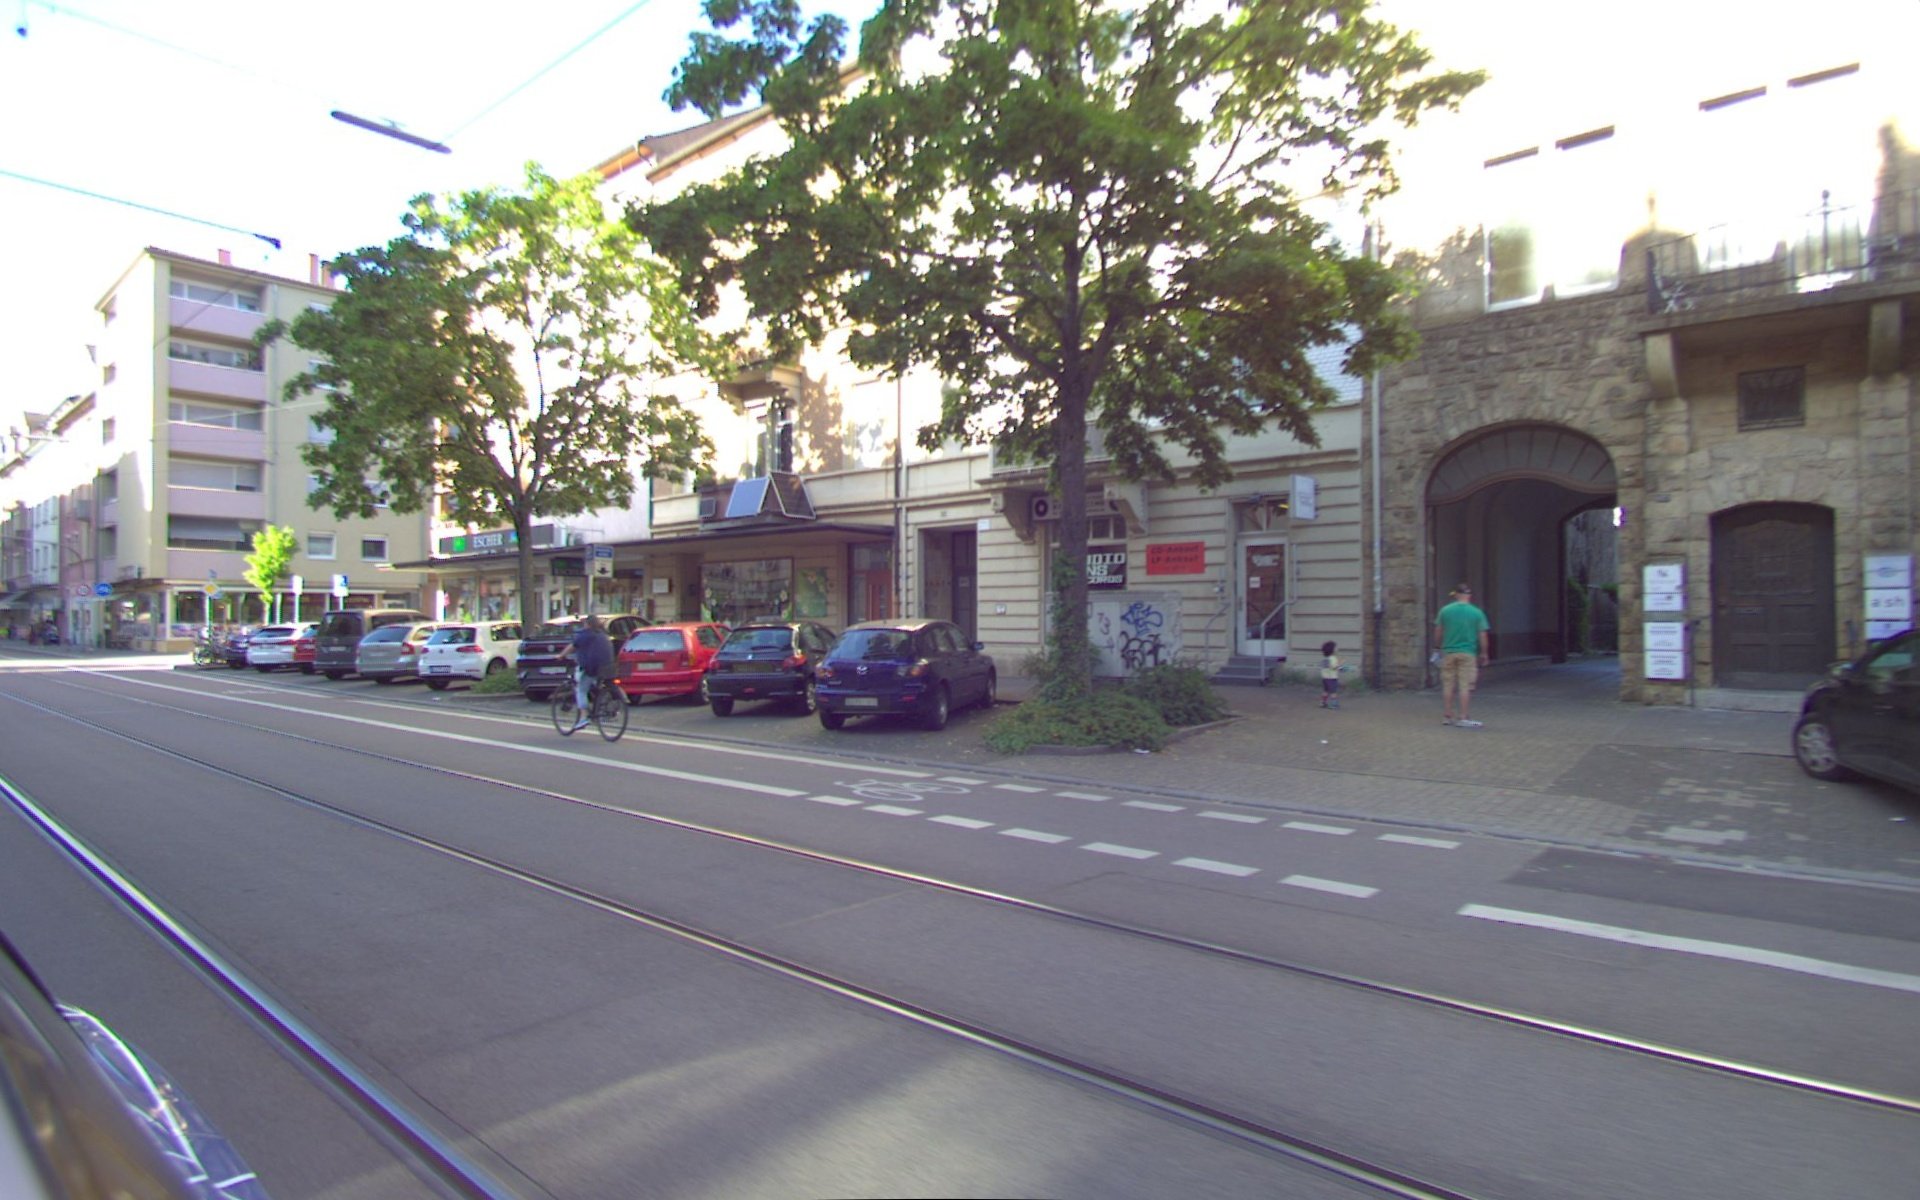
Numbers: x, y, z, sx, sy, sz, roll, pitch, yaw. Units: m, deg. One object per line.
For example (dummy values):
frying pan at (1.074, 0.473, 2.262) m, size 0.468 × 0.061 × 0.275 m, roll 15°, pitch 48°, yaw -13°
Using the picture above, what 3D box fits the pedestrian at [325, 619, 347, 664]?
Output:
pedestrian at (-23.757, 1.569, 38.518) m, size 0.641 × 1.665 × 0.563 m, roll -1°, pitch -1°, yaw 41°

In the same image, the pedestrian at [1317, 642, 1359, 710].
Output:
pedestrian at (5.331, 1.064, 14.265) m, size 0.459 × 0.929 × 0.350 m, roll -1°, pitch -1°, yaw 40°

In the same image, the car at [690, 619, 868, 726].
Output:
car at (-2.873, 1.113, 16.966) m, size 1.785 × 1.500 × 3.990 m, roll -1°, pitch 0°, yaw 8°

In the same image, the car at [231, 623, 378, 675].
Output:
car at (-19.906, 1.463, 30.933) m, size 1.734 × 1.410 × 3.782 m, roll -1°, pitch 0°, yaw 8°

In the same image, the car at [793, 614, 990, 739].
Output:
car at (-0.821, 0.980, 14.627) m, size 1.788 × 1.500 × 3.983 m, roll -1°, pitch 0°, yaw 13°

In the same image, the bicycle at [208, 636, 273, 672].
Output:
bicycle at (-24.616, 1.836, 34.625) m, size 1.867 × 1.132 × 0.681 m, roll -3°, pitch -2°, yaw 10°

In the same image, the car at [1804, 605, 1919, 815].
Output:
car at (7.852, 0.789, 7.199) m, size 1.795 × 1.500 × 3.967 m, roll -1°, pitch 0°, yaw 24°

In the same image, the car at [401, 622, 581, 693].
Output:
car at (-10.689, 1.257, 23.355) m, size 1.749 × 1.440 × 3.826 m, roll -1°, pitch 0°, yaw 15°

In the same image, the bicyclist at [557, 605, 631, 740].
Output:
bicyclist at (-4.791, 0.922, 13.252) m, size 0.726 × 1.694 × 0.627 m, roll -1°, pitch -1°, yaw 41°

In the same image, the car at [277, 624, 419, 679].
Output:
car at (-17.644, 1.451, 29.358) m, size 1.631 × 1.484 × 3.458 m, roll -1°, pitch -1°, yaw 12°

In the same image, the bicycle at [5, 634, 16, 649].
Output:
bicycle at (-72.332, 3.169, 77.085) m, size 2.328 × 1.068 × 0.420 m, roll -1°, pitch -1°, yaw 41°

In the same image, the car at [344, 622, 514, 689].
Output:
car at (-13.205, 1.335, 25.458) m, size 1.681 × 1.460 × 4.005 m, roll -1°, pitch 0°, yaw 11°

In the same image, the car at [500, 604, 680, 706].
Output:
car at (-7.166, 0.992, 20.146) m, size 1.968 × 1.796 × 4.366 m, roll -1°, pitch 0°, yaw 0°

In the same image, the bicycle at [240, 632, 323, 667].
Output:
bicycle at (-24.183, 1.753, 36.092) m, size 2.396 × 1.118 × 0.685 m, roll -2°, pitch -2°, yaw -9°

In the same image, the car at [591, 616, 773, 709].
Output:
car at (-5.029, 1.073, 18.913) m, size 1.846 × 1.500 × 3.990 m, roll -1°, pitch 0°, yaw 8°

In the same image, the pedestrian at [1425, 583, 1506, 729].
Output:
pedestrian at (6.270, 0.668, 12.558) m, size 0.761 × 1.739 × 0.572 m, roll -1°, pitch -1°, yaw 40°

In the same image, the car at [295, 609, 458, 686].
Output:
car at (-15.553, 1.202, 27.222) m, size 1.777 × 1.798 × 3.811 m, roll -1°, pitch 1°, yaw 10°

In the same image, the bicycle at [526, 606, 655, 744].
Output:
bicycle at (-4.916, 0.936, 13.376) m, size 2.096 × 1.691 × 0.673 m, roll -1°, pitch -1°, yaw 41°

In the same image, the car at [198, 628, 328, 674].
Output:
car at (-22.470, 1.612, 32.772) m, size 1.605 × 1.347 × 3.464 m, roll -1°, pitch 0°, yaw 7°

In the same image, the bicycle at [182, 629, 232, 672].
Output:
bicycle at (-24.639, 1.657, 33.096) m, size 2.431 × 1.330 × 0.675 m, roll -4°, pitch -3°, yaw 37°

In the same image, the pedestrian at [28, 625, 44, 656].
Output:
pedestrian at (-51.105, 2.230, 55.957) m, size 0.616 × 1.698 × 0.557 m, roll -1°, pitch -1°, yaw 40°

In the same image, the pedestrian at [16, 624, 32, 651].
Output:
pedestrian at (-55.122, 2.215, 59.596) m, size 0.623 × 1.560 × 0.629 m, roll -1°, pitch -1°, yaw 40°
